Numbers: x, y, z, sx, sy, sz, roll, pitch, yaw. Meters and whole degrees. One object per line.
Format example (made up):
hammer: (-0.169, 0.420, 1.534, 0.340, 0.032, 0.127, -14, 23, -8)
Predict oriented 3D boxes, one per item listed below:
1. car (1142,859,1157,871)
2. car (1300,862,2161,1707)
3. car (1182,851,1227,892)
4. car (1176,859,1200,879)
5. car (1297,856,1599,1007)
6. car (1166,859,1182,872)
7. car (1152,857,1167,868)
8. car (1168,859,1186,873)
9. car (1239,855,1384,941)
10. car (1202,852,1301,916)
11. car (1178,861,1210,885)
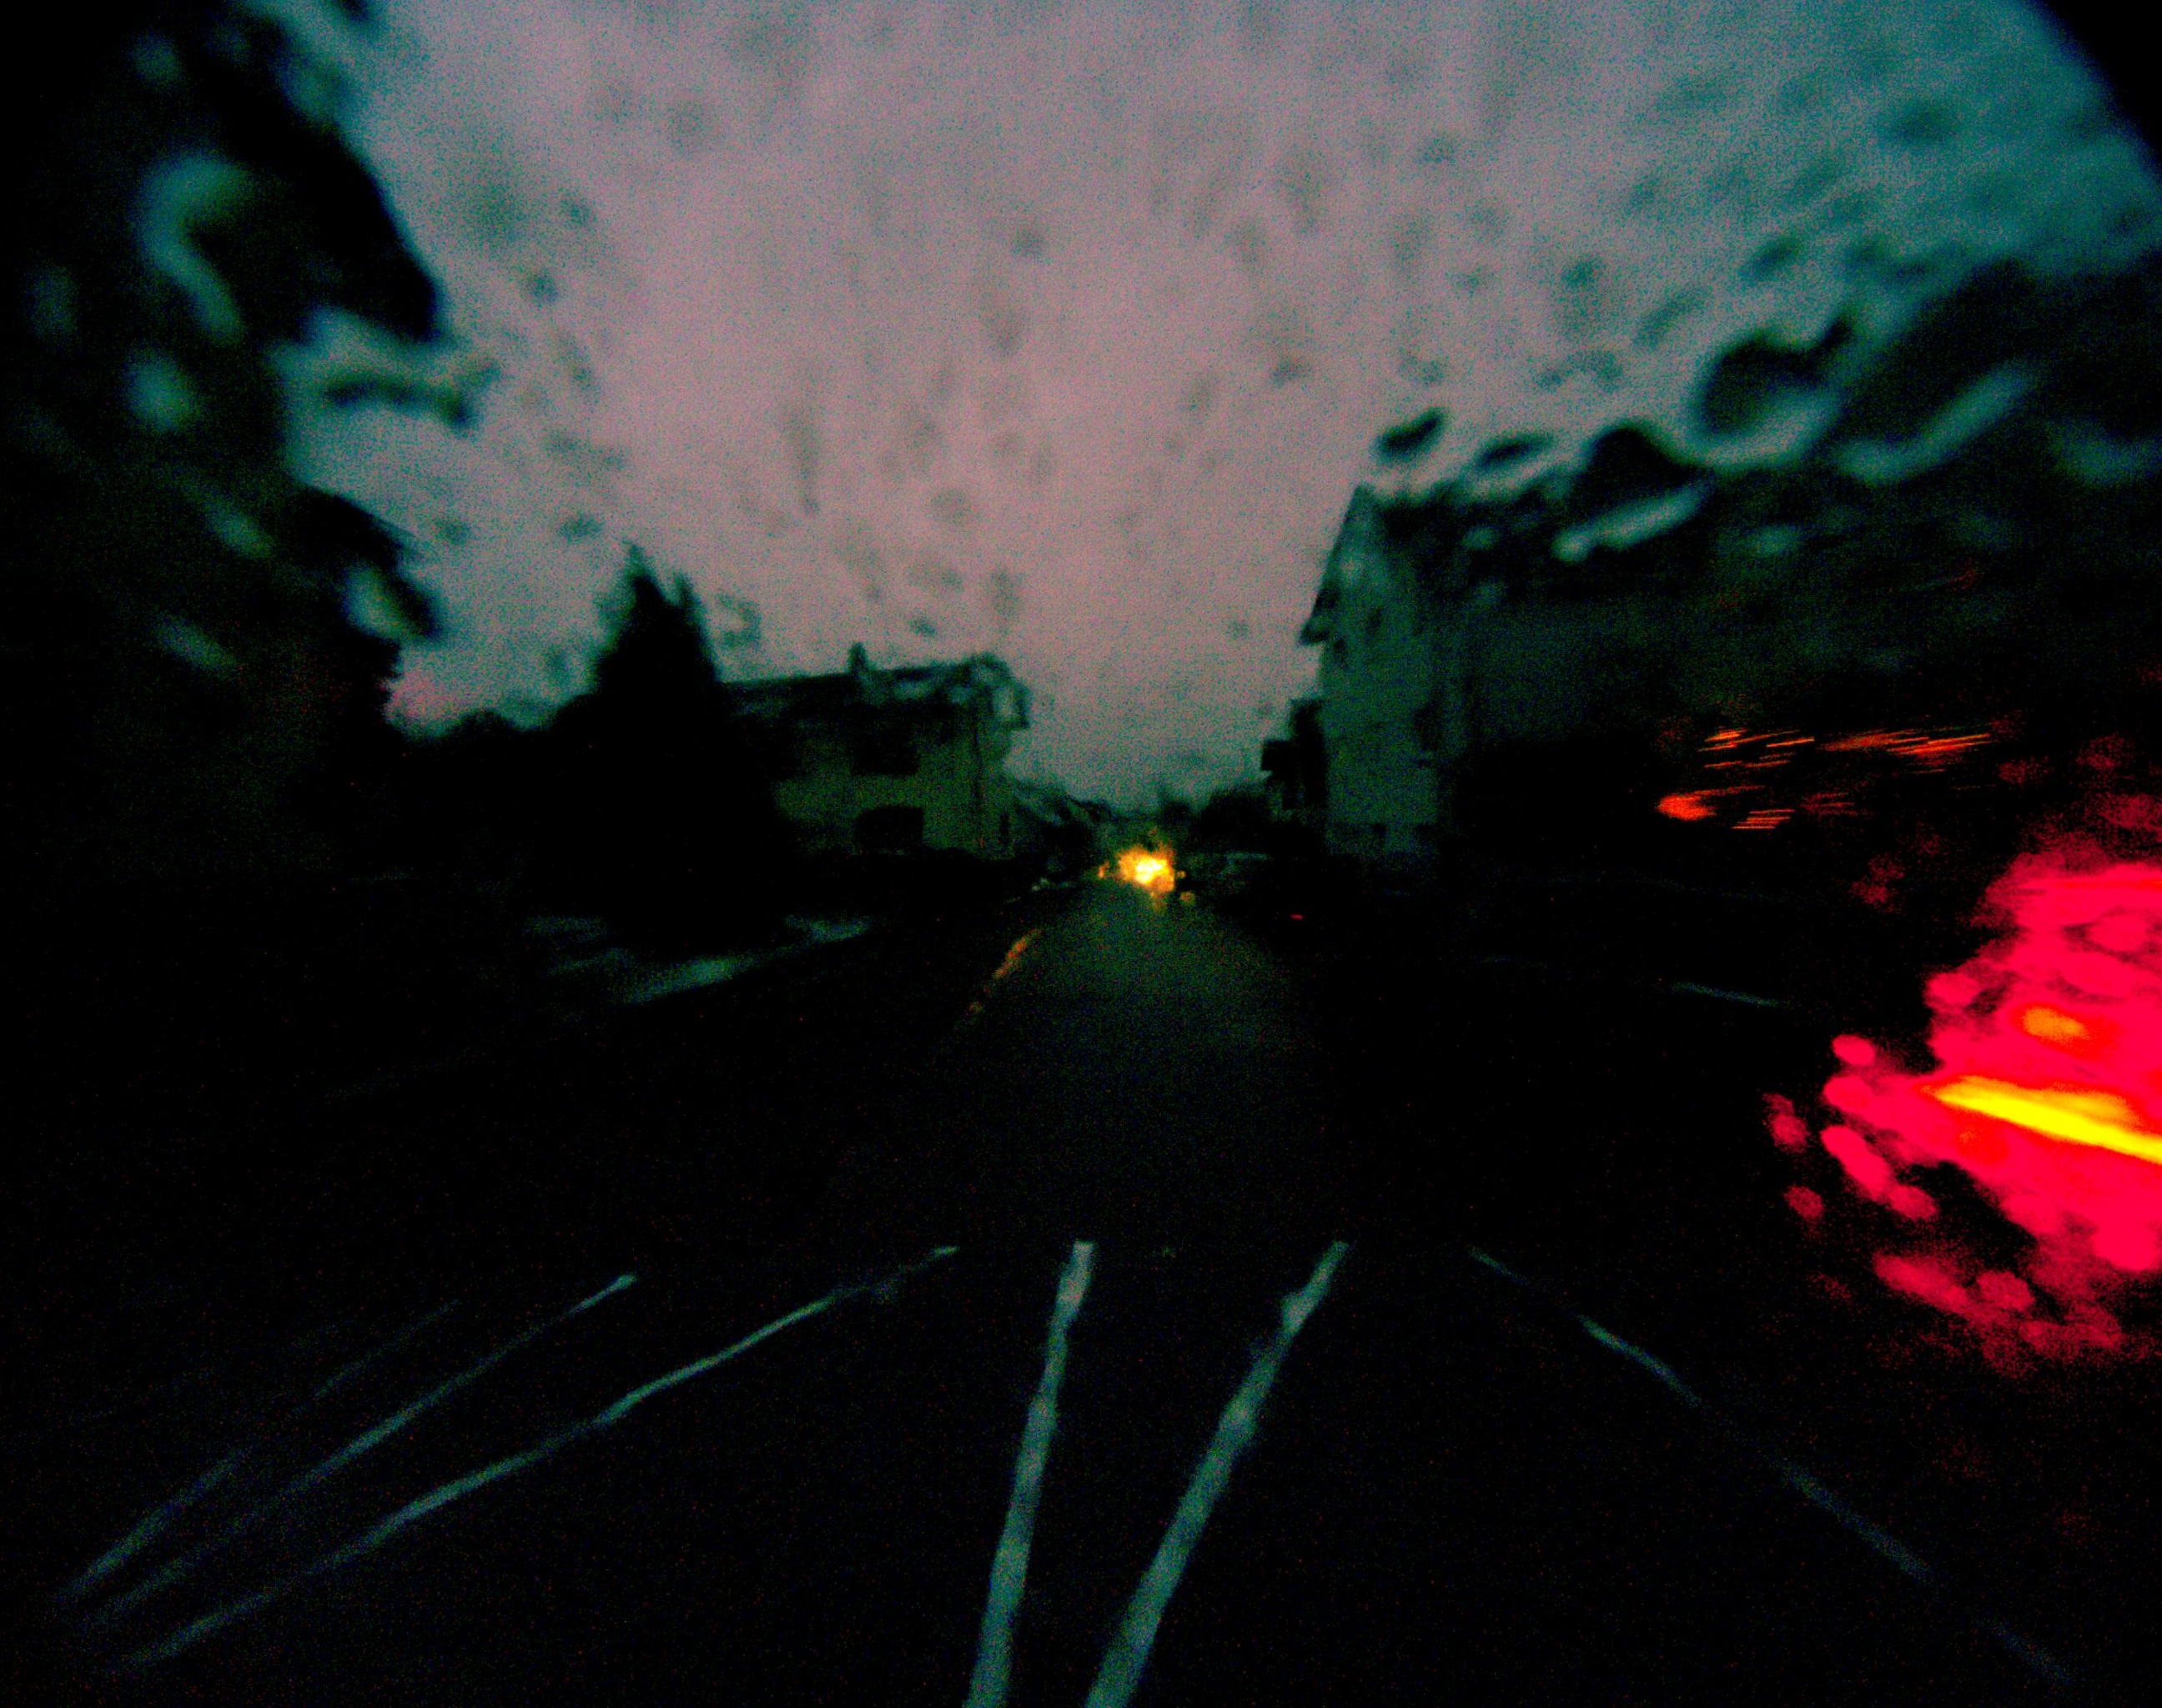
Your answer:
car: (9.387, 1.448, 103.806, 1.755, 1.487, 4.253, -1, 0, 9)
car: (2.592, 0.820, 3.324, 1.778, 1.487, 4.378, -1, 0, -3)
car: (5.814, 0.805, 36.211, 1.775, 1.781, 4.130, -1, -1, 5)
car: (8.618, 1.179, 61.601, 1.766, 1.543, 4.002, 0, 0, 6)
car: (4.273, 0.774, 9.762, 1.738, 1.435, 4.439, -2, 0, 0)
car: (11.764, 1.433, 96.494, 1.720, 1.616, 3.731, -1, 0, 3)
car: (12.650, 1.367, 122.413, 1.793, 1.764, 3.892, -1, 0, 13)
car: (10.601, 1.321, 84.041, 1.720, 1.403, 3.731, -1, 0, 3)
car: (4.362, 0.755, 15.042, 1.738, 1.428, 4.035, -1, 0, 2)
car: (4.712, 0.761, 21.639, 1.922, 1.615, 4.423, -1, 0, 2)
car: (7.305, 1.205, 49.573, 1.829, 1.457, 4.002, 0, 0, 5)
